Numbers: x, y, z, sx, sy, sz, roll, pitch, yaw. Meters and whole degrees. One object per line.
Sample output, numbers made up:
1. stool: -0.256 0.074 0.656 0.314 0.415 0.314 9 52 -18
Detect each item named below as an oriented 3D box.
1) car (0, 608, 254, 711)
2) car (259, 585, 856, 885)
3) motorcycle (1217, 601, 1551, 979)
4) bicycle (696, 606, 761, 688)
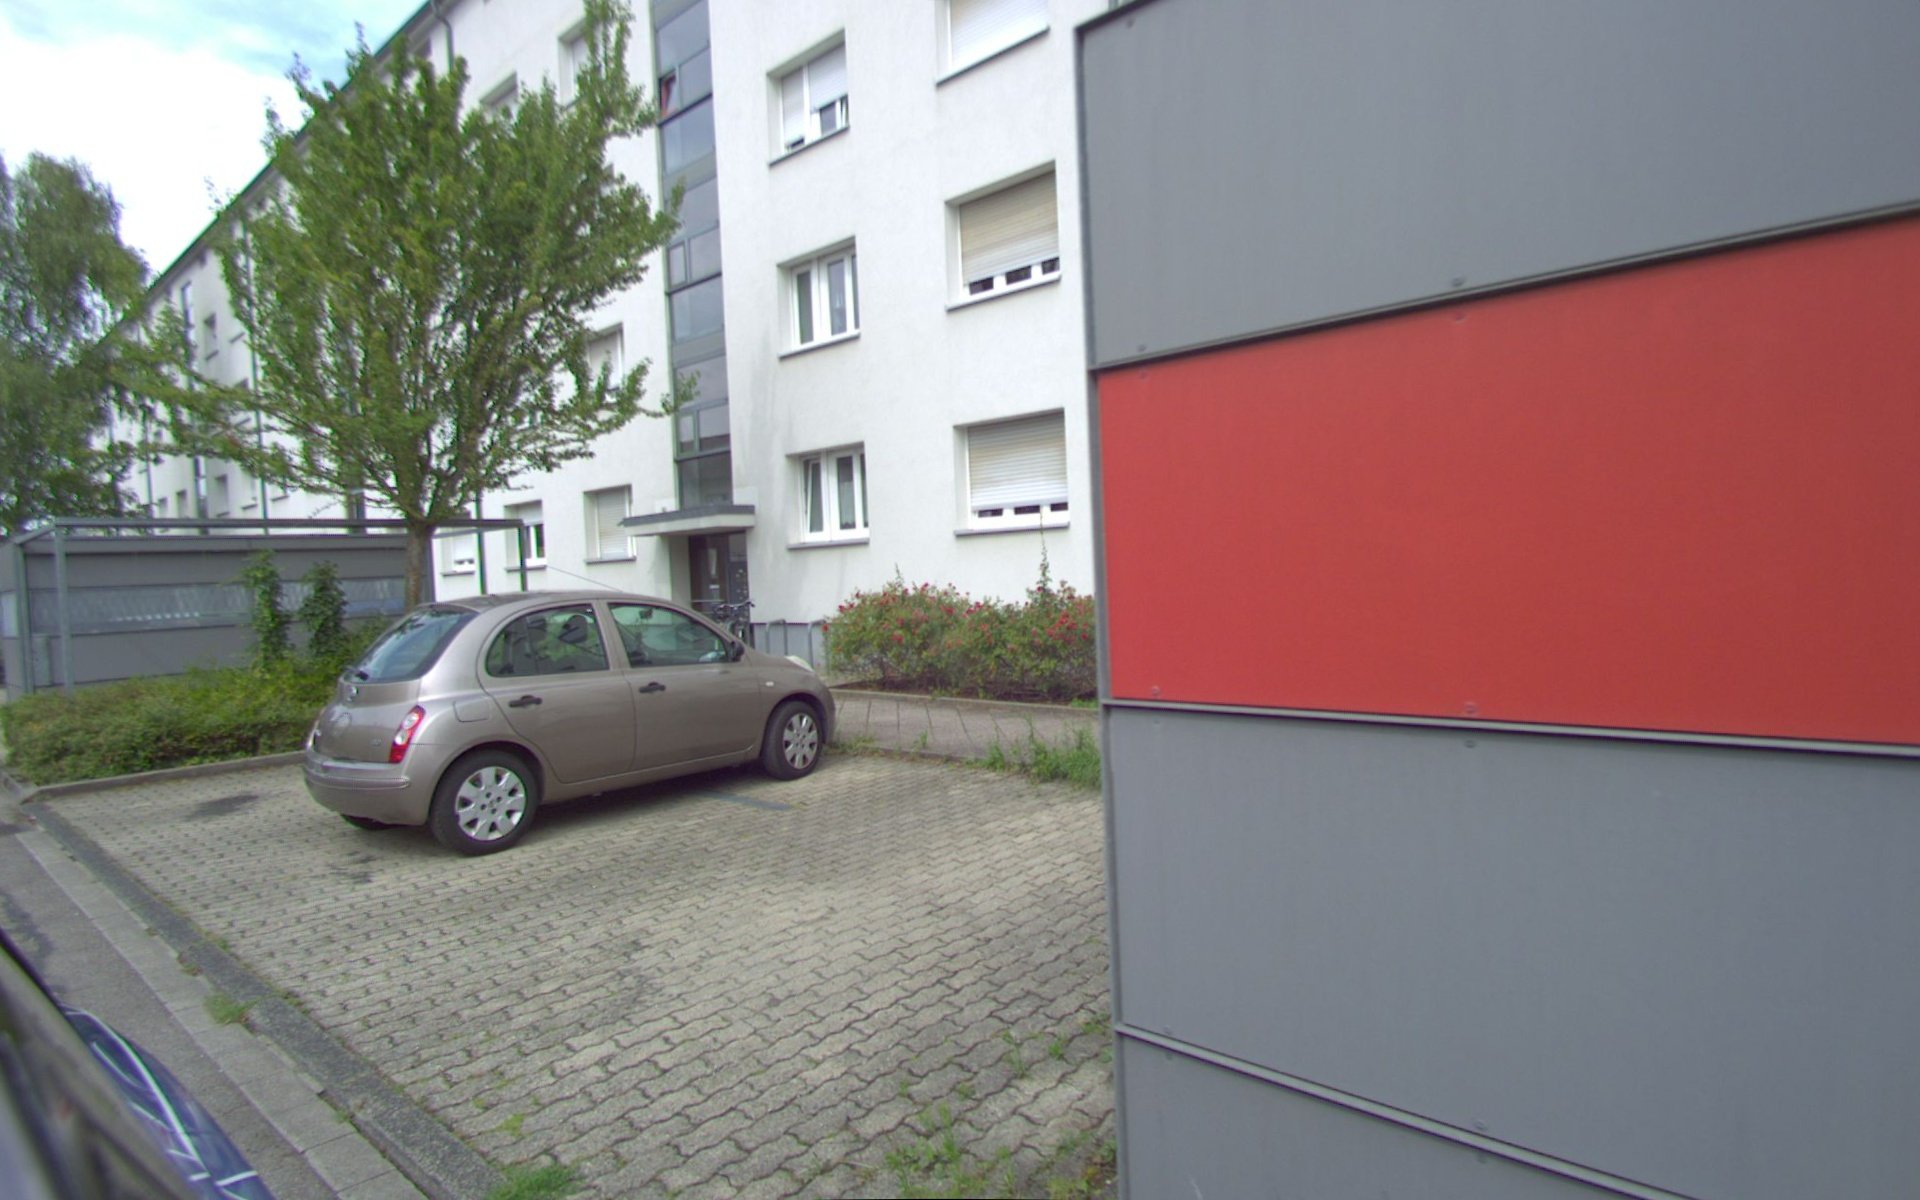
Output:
1. car: -15.241 1.004 18.452 1.653 1.472 3.594 -1 2 45
2. car: -2.578 0.696 7.144 1.708 1.492 3.529 -2 0 37
3. motorcycle: 1.918 0.642 4.343 0.635 1.145 2.119 -5 0 41
4. bicycle: -3.310 0.644 14.607 0.472 1.032 1.810 -3 1 0
